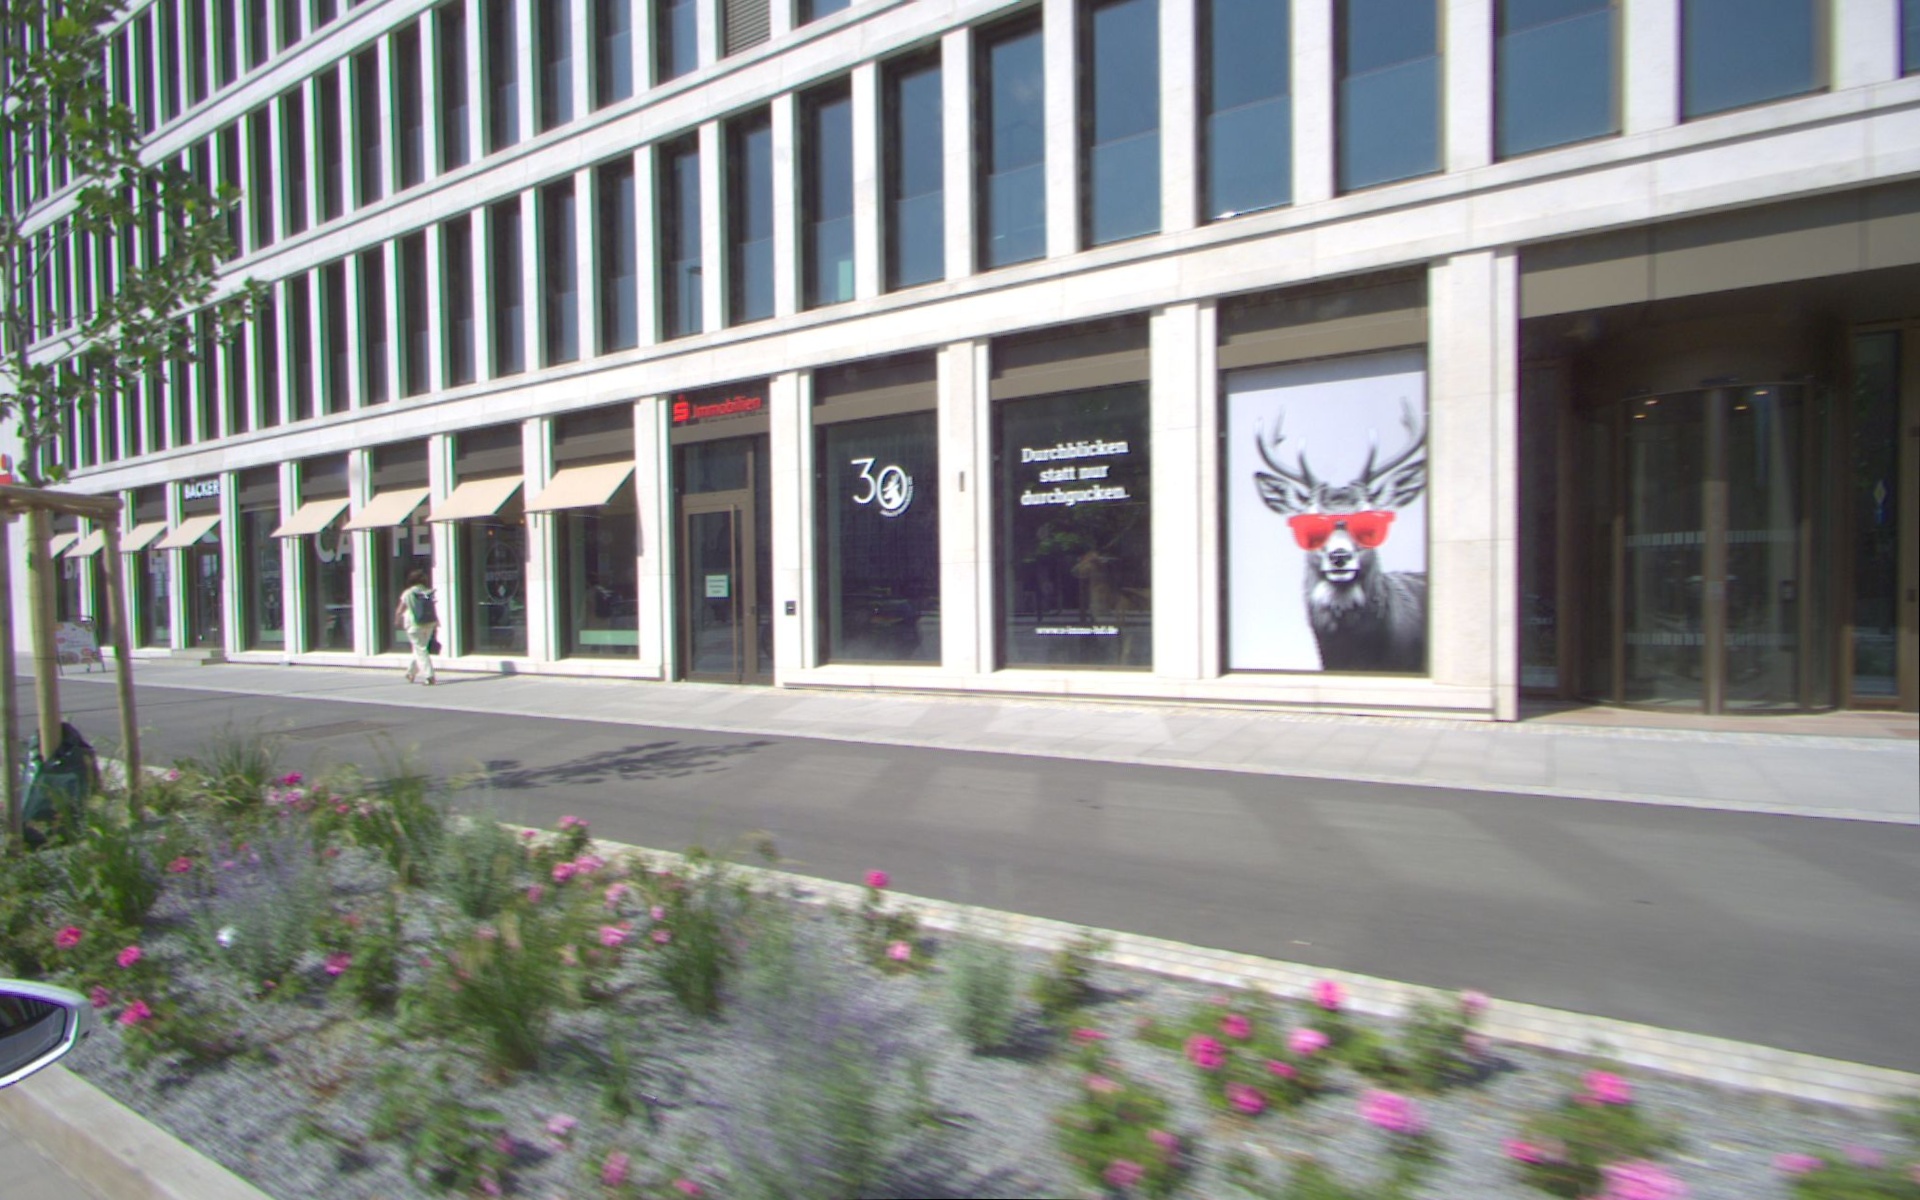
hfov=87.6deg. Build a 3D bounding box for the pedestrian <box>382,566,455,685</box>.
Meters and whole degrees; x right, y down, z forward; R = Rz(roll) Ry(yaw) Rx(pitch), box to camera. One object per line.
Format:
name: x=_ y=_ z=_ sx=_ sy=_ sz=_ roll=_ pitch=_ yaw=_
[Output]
pedestrian: x=-8.240 y=0.372 z=15.256 sx=0.802 sy=1.766 sz=0.626 roll=0 pitch=2 yaw=32
